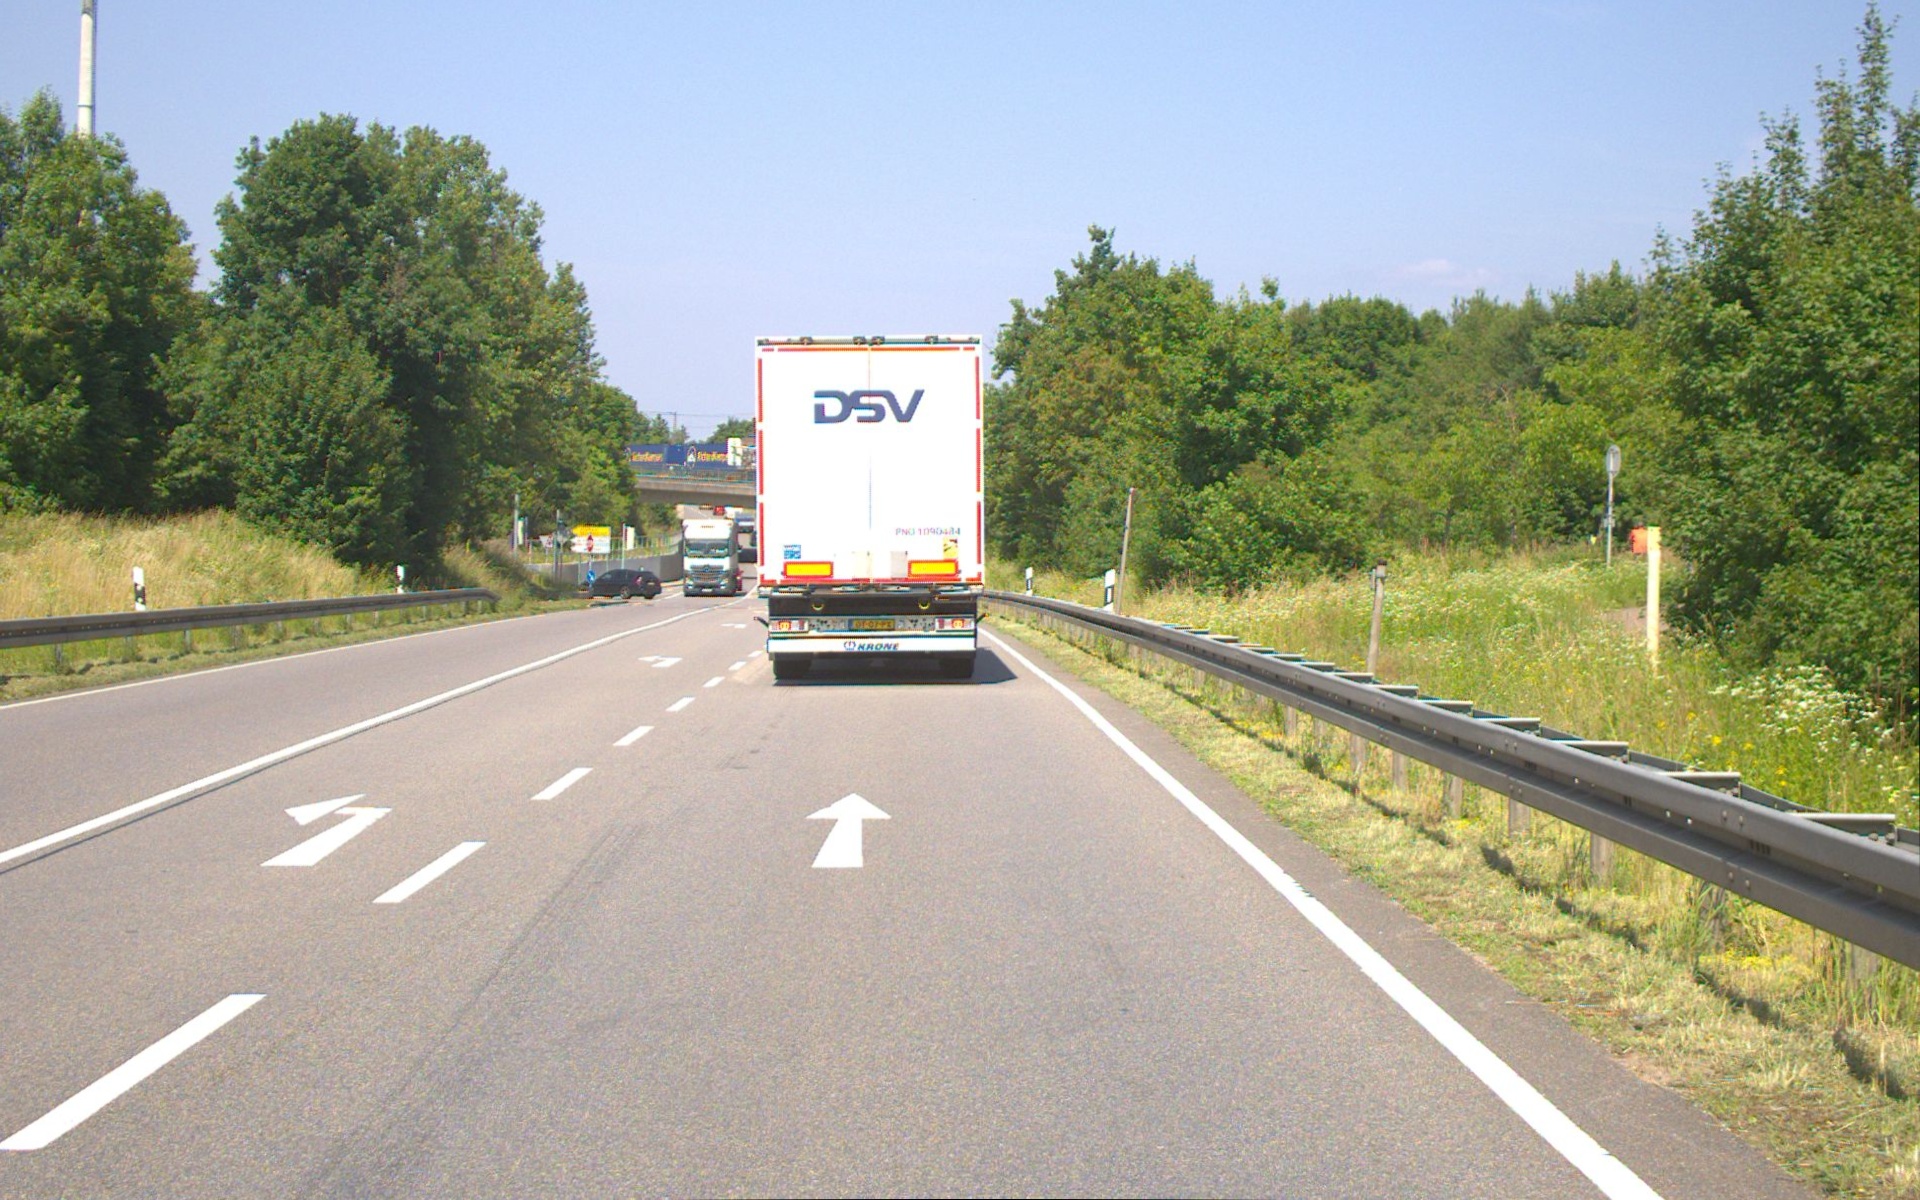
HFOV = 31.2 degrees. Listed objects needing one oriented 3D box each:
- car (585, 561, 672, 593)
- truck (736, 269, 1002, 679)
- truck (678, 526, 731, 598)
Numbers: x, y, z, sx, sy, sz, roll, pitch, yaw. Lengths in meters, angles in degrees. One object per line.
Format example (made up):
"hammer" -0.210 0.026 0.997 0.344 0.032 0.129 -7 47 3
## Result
"car" -16.090 -1.108 166.765 3.863 1.508 1.712 -1 1 -25
"truck" -1.076 -1.448 43.111 2.950 4.553 9.863 0 0 -1
"truck" -13.644 -2.070 184.569 2.353 3.737 12.627 0 1 -2
